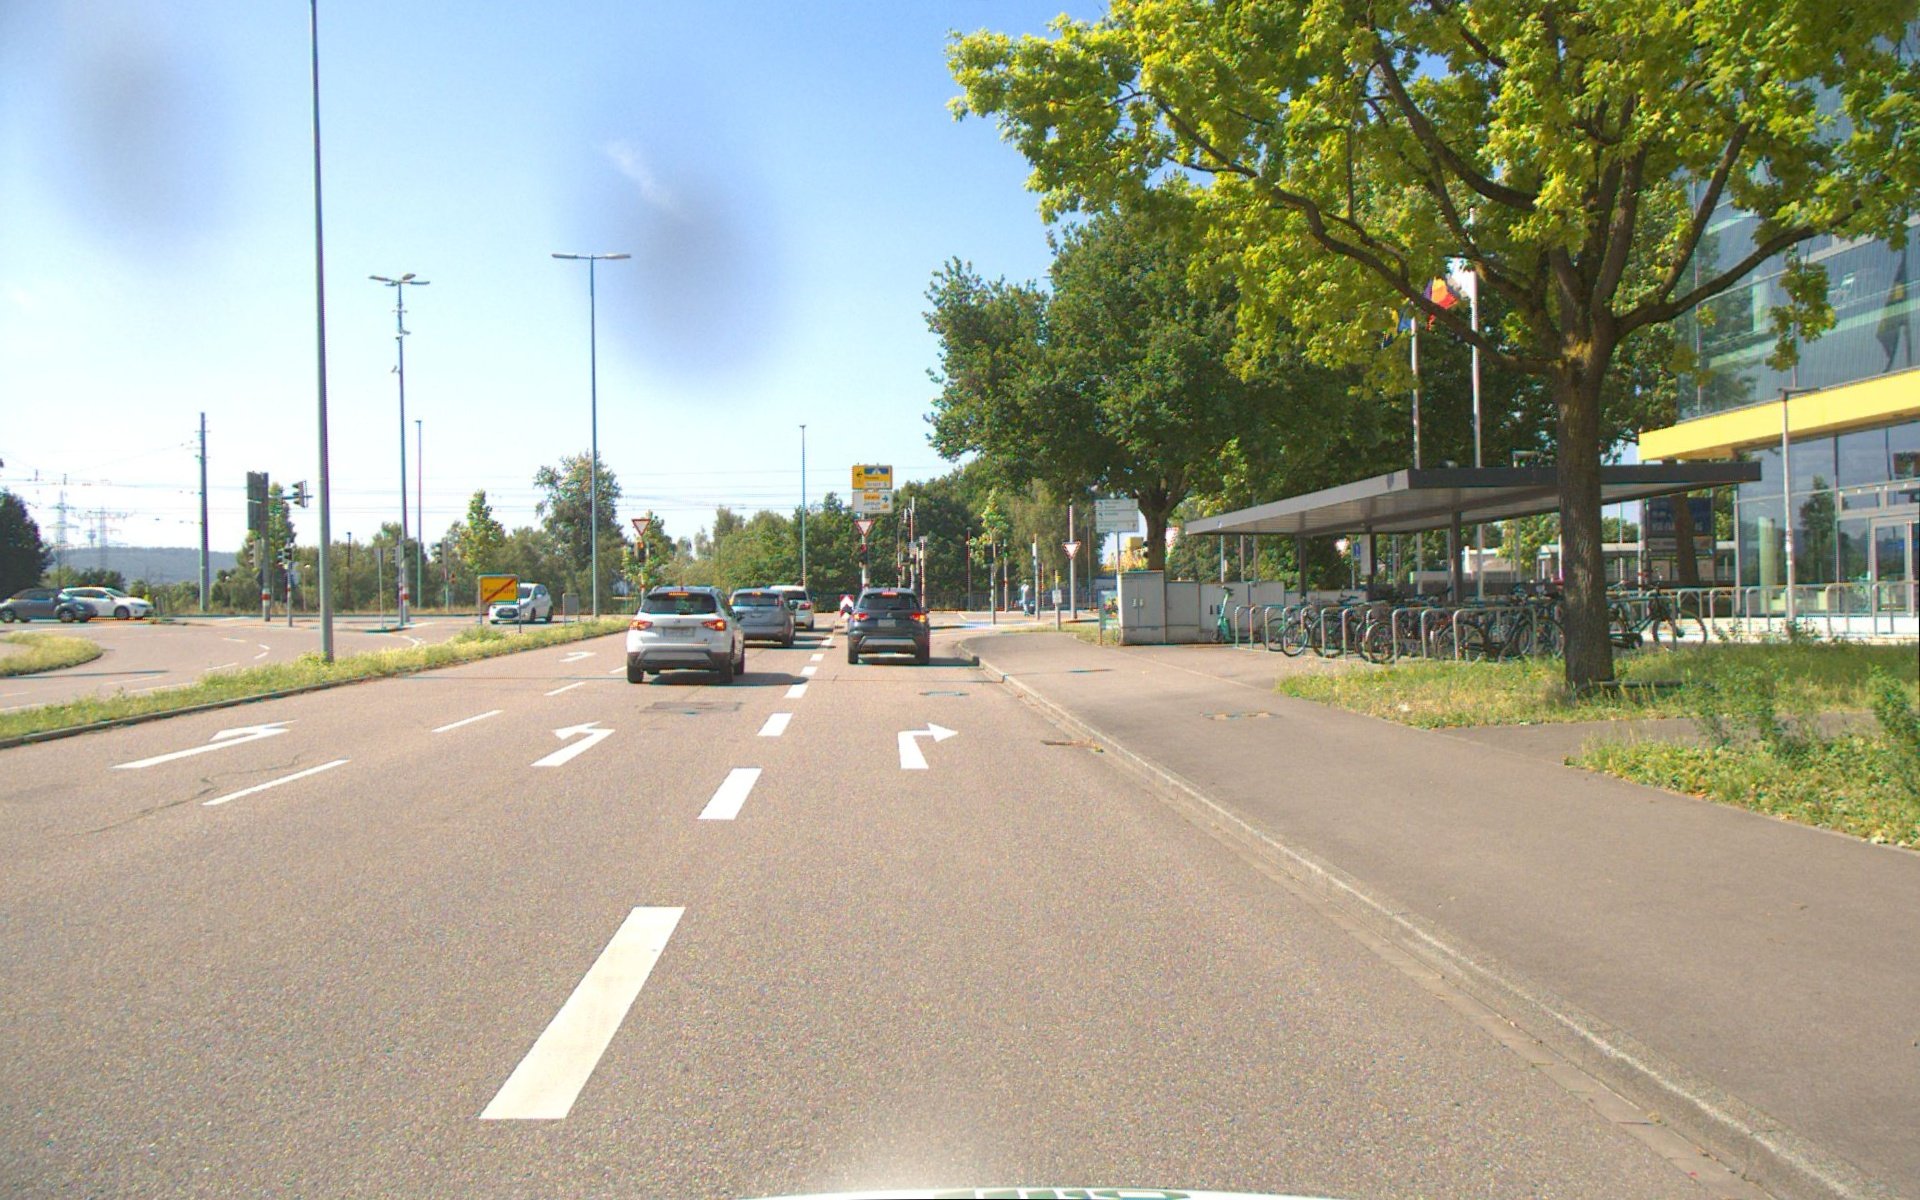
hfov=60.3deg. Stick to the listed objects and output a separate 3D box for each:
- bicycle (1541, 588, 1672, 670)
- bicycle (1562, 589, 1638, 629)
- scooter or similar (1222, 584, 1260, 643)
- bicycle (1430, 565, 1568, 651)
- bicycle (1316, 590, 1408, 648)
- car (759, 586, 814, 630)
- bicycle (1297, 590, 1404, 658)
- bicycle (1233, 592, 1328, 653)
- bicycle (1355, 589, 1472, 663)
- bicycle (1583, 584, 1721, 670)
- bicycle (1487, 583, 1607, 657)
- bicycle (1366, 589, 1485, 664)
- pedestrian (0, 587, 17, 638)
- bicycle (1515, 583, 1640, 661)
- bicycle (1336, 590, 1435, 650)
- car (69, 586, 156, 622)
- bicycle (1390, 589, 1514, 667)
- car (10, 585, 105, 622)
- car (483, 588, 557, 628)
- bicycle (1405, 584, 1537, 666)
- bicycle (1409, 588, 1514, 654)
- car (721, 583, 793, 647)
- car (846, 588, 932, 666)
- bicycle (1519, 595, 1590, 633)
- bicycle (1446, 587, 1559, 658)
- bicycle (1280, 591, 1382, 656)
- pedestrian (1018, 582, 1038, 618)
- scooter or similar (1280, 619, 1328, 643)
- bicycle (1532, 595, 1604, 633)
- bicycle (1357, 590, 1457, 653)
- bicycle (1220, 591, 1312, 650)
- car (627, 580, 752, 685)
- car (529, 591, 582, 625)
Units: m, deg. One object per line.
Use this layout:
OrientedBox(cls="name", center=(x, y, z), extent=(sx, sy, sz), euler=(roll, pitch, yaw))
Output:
OrientedBox(cls="bicycle", center=(9.338, 0.413, 23.913), extent=(1.723, 1.115, 0.452), euler=(-2, 0, -4))
OrientedBox(cls="bicycle", center=(14.278, 0.207, 36.892), extent=(1.530, 0.858, 0.433), euler=(-1, 0, -2))
OrientedBox(cls="scooter or similar", center=(6.298, 0.292, 37.077), extent=(0.762, 1.287, 0.283), euler=(-2, 0, -6))
OrientedBox(cls="bicycle", center=(7.355, 0.107, 22.604), extent=(1.723, 1.115, 0.452), euler=(-2, 0, -4))
OrientedBox(cls="bicycle", center=(8.117, 0.376, 33.429), extent=(1.723, 1.115, 0.452), euler=(-2, 0, -4))
OrientedBox(cls="car", center=(-6.055, 0.243, 58.202), extent=(1.707, 1.473, 4.386), euler=(0, 0, -3))
OrientedBox(cls="bicycle", center=(6.746, 0.409, 28.617), extent=(1.723, 1.115, 0.452), euler=(-2, 0, -4))
OrientedBox(cls="bicycle", center=(6.233, 0.433, 32.199), extent=(1.723, 1.115, 0.452), euler=(-2, 0, -4))
OrientedBox(cls="bicycle", center=(7.231, 0.407, 26.405), extent=(1.723, 1.115, 0.452), euler=(-2, 0, -4))
OrientedBox(cls="bicycle", center=(9.558, 0.365, 22.861), extent=(1.723, 1.115, 0.452), euler=(-2, 0, -4))
OrientedBox(cls="bicycle", center=(9.253, 0.311, 26.099), extent=(1.723, 1.115, 0.452), euler=(-2, 0, -4))
OrientedBox(cls="bicycle", center=(7.282, 0.405, 25.879), extent=(1.723, 1.115, 0.452), euler=(-2, 0, -4))
OrientedBox(cls="pedestrian", center=(-33.172, 0.442, 56.927), extent=(0.822, 1.736, 0.906), euler=(-2, 0, 8))
OrientedBox(cls="bicycle", center=(9.321, 0.329, 24.979), extent=(1.723, 1.115, 0.452), euler=(-2, 0, -4))
OrientedBox(cls="bicycle", center=(8.286, 0.384, 32.238), extent=(1.792, 1.115, 0.452), euler=(-2, 0, -4))
OrientedBox(cls="car", center=(-38.870, 0.188, 75.905), extent=(3.280, 1.526, 1.407), euler=(-1, -1, -8))
OrientedBox(cls="bicycle", center=(7.424, 0.415, 24.958), extent=(1.723, 1.115, 0.452), euler=(-2, 0, -4))
OrientedBox(cls="car", center=(-39.600, 0.159, 72.616), extent=(3.320, 1.526, 1.408), euler=(-1, -1, -6))
OrientedBox(cls="car", center=(-18.366, 0.328, 69.243), extent=(1.756, 1.574, 4.088), euler=(-1, 0, 4))
OrientedBox(cls="bicycle", center=(7.299, 0.352, 23.637), extent=(1.723, 1.115, 0.463), euler=(-2, 0, -4))
OrientedBox(cls="bicycle", center=(8.900, 0.363, 29.382), extent=(1.723, 1.115, 0.452), euler=(-2, 0, -4))
OrientedBox(cls="car", center=(-5.261, 0.359, 43.265), extent=(1.673, 1.600, 4.170), euler=(0, 0, -5))
OrientedBox(cls="car", center=(-1.527, 0.542, 34.747), extent=(1.637, 1.550, 3.373), euler=(0, 0, -5))
OrientedBox(cls="bicycle", center=(14.158, 0.337, 39.422), extent=(1.530, 0.858, 0.433), euler=(-1, 0, -3))
OrientedBox(cls="bicycle", center=(9.017, 0.367, 27.523), extent=(1.723, 1.115, 0.452), euler=(-2, 0, -4))
OrientedBox(cls="bicycle", center=(6.682, 0.419, 29.803), extent=(1.723, 1.115, 0.452), euler=(-2, 0, -4))
OrientedBox(cls="pedestrian", center=(3.051, -0.007, 74.390), extent=(0.756, 1.537, 1.008), euler=(-1, 1, 8))
OrientedBox(cls="scooter or similar", center=(7.314, 0.654, 35.163), extent=(0.897, 0.459, 0.962), euler=(-3, -1, 17))
OrientedBox(cls="bicycle", center=(14.171, 0.317, 38.570), extent=(1.530, 0.858, 0.433), euler=(-1, 0, -2))
OrientedBox(cls="bicycle", center=(8.340, 0.388, 30.862), extent=(1.723, 1.115, 0.452), euler=(-2, 0, -4))
OrientedBox(cls="bicycle", center=(6.134, 0.409, 33.194), extent=(1.722, 1.115, 0.452), euler=(-2, 0, -1))
OrientedBox(cls="car", center=(-4.470, 0.489, 27.798), extent=(1.598, 1.524, 3.869), euler=(0, 2, -3))
OrientedBox(cls="car", center=(-12.742, 0.241, 52.213), extent=(1.095, 1.021, 2.491), euler=(-1, 0, -2))
